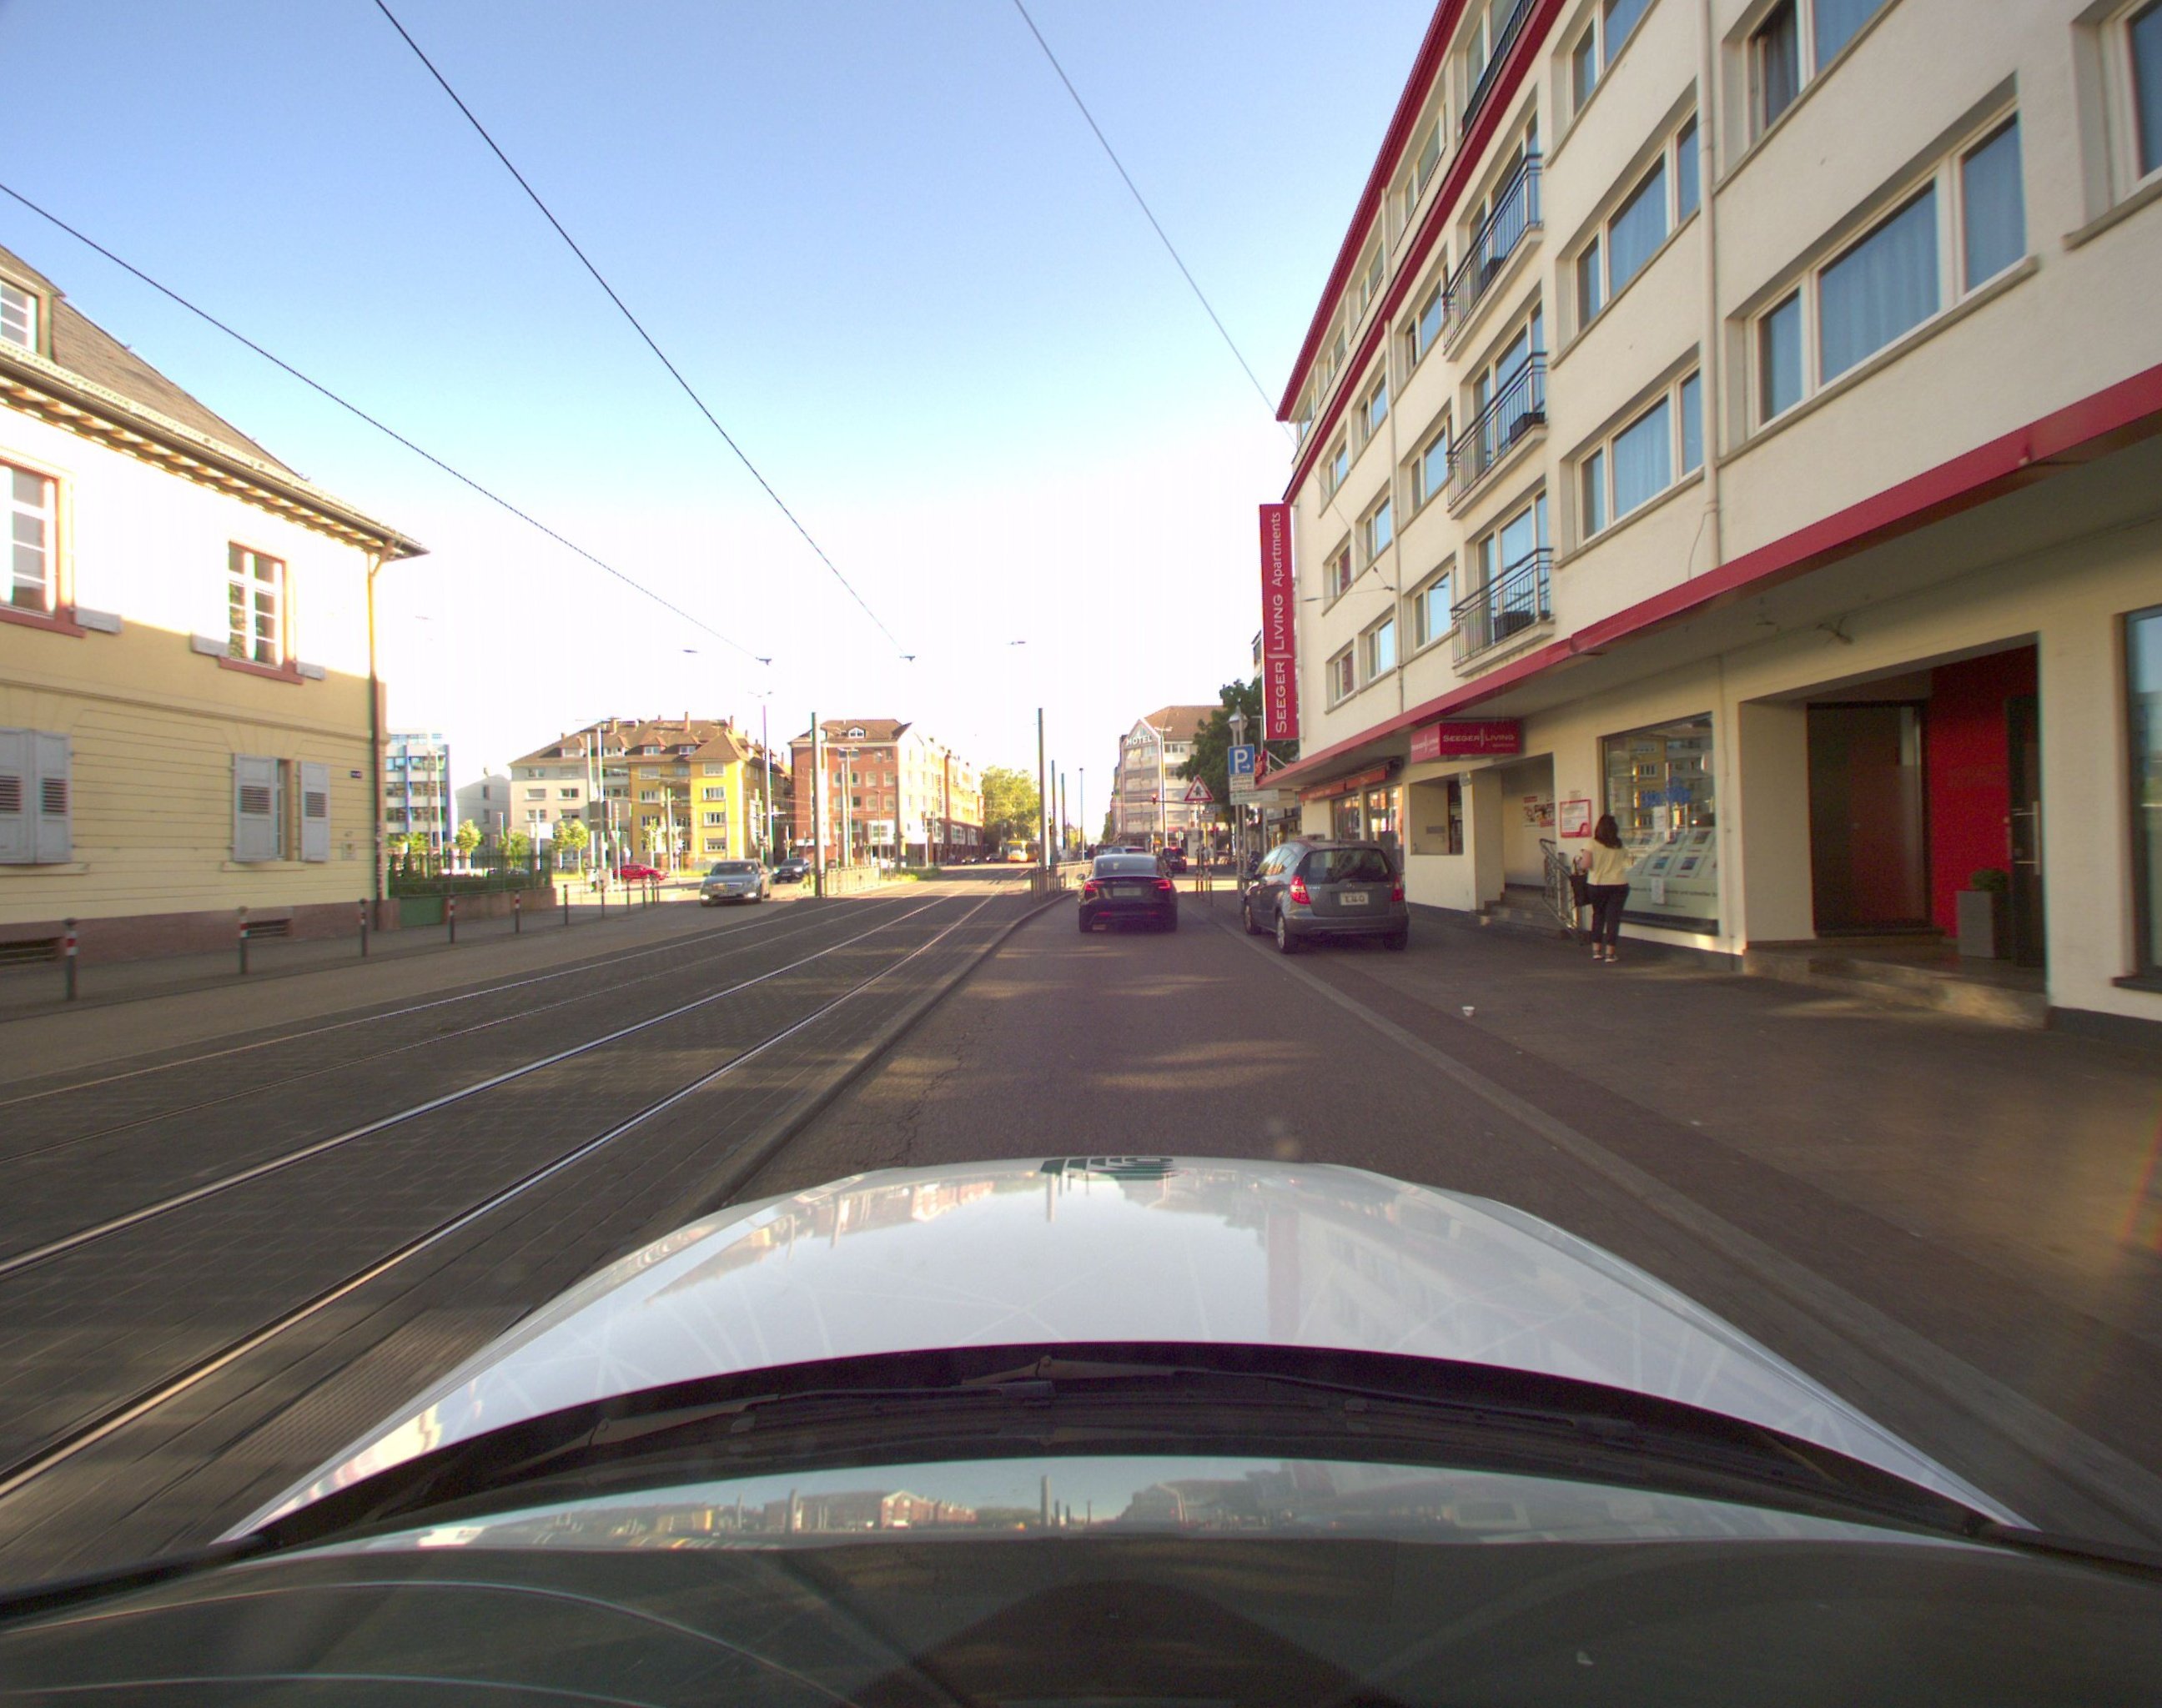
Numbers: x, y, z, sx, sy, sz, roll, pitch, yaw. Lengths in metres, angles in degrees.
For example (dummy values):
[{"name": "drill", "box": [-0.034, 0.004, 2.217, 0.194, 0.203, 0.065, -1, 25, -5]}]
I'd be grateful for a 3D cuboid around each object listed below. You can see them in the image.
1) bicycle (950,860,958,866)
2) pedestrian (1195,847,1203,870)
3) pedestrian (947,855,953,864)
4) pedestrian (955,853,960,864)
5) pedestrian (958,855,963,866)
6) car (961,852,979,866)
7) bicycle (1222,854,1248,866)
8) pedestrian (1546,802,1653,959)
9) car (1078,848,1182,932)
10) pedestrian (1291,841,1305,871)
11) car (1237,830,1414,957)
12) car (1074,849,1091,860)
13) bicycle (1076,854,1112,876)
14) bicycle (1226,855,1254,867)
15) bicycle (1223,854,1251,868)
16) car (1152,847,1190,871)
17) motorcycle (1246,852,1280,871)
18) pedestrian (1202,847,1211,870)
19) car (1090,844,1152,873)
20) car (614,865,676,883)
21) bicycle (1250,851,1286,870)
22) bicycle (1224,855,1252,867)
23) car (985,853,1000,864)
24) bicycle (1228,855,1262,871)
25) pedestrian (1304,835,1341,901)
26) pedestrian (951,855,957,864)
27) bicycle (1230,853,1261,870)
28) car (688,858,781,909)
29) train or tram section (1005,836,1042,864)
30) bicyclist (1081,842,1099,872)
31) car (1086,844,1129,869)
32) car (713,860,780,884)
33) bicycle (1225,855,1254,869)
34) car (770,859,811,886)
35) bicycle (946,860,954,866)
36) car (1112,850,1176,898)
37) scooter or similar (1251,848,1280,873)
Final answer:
[{"name": "bicycle", "box": [-18.941, 1.359, 121.352, 0.699, 0.855, 2.054, -2, 0, 1]}, {"name": "pedestrian", "box": [8.753, 0.330, 60.179, 0.559, 1.683, 0.751, 0, 0, 6]}, {"name": "pedestrian", "box": [-19.040, 0.826, 118.561, 0.708, 1.342, 0.666, -1, 0, 1]}, {"name": "pedestrian", "box": [-18.594, 0.657, 123.065, 0.710, 1.555, 0.563, 1, 0, -8]}, {"name": "pedestrian", "box": [-18.598, 0.971, 125.264, 0.710, 1.667, 0.563, 1, 0, -8]}, {"name": "car", "box": [-16.682, 0.695, 123.077, 1.986, 2.013, 4.002, -2, 0, 2]}, {"name": "bicycle", "box": [11.556, 0.465, 61.117, 1.917, 0.890, 0.526, -1, 0, 2]}, {"name": "pedestrian", "box": [6.174, 0.303, 9.753, 0.797, 1.774, 0.936, -2, 0, 15]}, {"name": "car", "box": [0.878, 0.640, 16.225, 1.843, 1.484, 3.787, 0, 0, 0]}, {"name": "pedestrian", "box": [12.005, 0.099, 45.113, 0.592, 1.641, 0.467, -2, -1, 3]}, {"name": "car", "box": [3.649, 0.516, 12.822, 1.738, 1.632, 3.650, -3, 0, 2]}, {"name": "car", "box": [0.210, 0.095, 110.417, 1.984, 1.420, 4.005, 1, 0, 4]}, {"name": "bicycle", "box": [0.643, 0.570, 41.265, 1.726, 1.088, 0.676, 1, 0, -7]}, {"name": "bicycle", "box": [11.518, 0.508, 58.952, 1.917, 0.888, 0.526, -1, 0, 2]}, {"name": "bicycle", "box": [11.075, 0.497, 57.907, 1.917, 0.950, 0.526, -1, 0, 2]}, {"name": "car", "box": [5.719, 0.310, 51.931, 1.820, 1.519, 3.644, 1, 0, -4]}, {"name": "motorcycle", "box": [11.111, 0.467, 49.779, 1.984, 1.128, 0.596, 1, 0, 1]}, {"name": "pedestrian", "box": [8.890, 0.290, 57.734, 0.626, 1.613, 0.644, 0, 0, 5]}, {"name": "car", "box": [2.145, 0.226, 45.139, 1.791, 1.519, 4.185, 1, 0, -23]}, {"name": "car", "box": [-36.683, 1.675, 68.615, 4.143, 1.490, 1.933, 0, 0, -8]}, {"name": "bicycle", "box": [10.966, 0.376, 47.770, 2.043, 1.121, 0.483, -1, 0, 2]}, {"name": "bicycle", "box": [11.537, 0.502, 59.885, 1.917, 0.890, 0.526, -1, 0, 2]}, {"name": "car", "box": [-13.638, 0.683, 126.152, 1.744, 1.651, 4.002, 1, 0, 2]}, {"name": "bicycle", "box": [10.444, 0.550, 51.950, 2.043, 0.982, 0.483, -1, 0, 2]}, {"name": "pedestrian", "box": [6.257, 0.354, 21.101, 0.810, 1.683, 0.718, 0, 0, 24]}, {"name": "pedestrian", "box": [-18.953, 0.857, 121.354, 0.693, 1.308, 0.564, -2, 0, 0]}, {"name": "bicycle", "box": [10.914, 0.465, 54.004, 1.917, 1.097, 0.555, -1, 0, 2]}, {"name": "car", "box": [-11.720, 0.933, 27.882, 1.881, 1.495, 4.911, -2, 0, -11]}, {"name": "train or tram section", "box": [-8.022, -0.468, 115.889, 2.660, 3.715, 14.217, 0, 0, 6]}, {"name": "bicyclist", "box": [0.455, 0.172, 41.302, 0.835, 1.500, 0.559, 1, 0, -7]}, {"name": "car", "box": [1.613, 0.168, 51.773, 1.825, 1.519, 4.202, 1, 0, -11]}, {"name": "car", "box": [-23.912, 1.257, 58.155, 4.551, 1.556, 1.826, 1, 0, 25]}, {"name": "bicycle", "box": [11.077, 0.586, 56.890, 1.917, 0.950, 0.526, -1, 0, 2]}, {"name": "car", "box": [-17.654, 1.114, 49.689, 1.765, 1.512, 4.262, -1, 0, -12]}, {"name": "bicycle", "box": [-19.022, 1.355, 118.544, 0.699, 0.855, 2.054, -2, 0, 1]}, {"name": "car", "box": [2.126, 0.595, 26.666, 1.643, 1.418, 4.012, 0, 1, 11]}, {"name": "scooter or similar", "box": [10.277, 0.361, 45.406, 1.415, 1.316, 0.691, -1, -2, -24]}]
